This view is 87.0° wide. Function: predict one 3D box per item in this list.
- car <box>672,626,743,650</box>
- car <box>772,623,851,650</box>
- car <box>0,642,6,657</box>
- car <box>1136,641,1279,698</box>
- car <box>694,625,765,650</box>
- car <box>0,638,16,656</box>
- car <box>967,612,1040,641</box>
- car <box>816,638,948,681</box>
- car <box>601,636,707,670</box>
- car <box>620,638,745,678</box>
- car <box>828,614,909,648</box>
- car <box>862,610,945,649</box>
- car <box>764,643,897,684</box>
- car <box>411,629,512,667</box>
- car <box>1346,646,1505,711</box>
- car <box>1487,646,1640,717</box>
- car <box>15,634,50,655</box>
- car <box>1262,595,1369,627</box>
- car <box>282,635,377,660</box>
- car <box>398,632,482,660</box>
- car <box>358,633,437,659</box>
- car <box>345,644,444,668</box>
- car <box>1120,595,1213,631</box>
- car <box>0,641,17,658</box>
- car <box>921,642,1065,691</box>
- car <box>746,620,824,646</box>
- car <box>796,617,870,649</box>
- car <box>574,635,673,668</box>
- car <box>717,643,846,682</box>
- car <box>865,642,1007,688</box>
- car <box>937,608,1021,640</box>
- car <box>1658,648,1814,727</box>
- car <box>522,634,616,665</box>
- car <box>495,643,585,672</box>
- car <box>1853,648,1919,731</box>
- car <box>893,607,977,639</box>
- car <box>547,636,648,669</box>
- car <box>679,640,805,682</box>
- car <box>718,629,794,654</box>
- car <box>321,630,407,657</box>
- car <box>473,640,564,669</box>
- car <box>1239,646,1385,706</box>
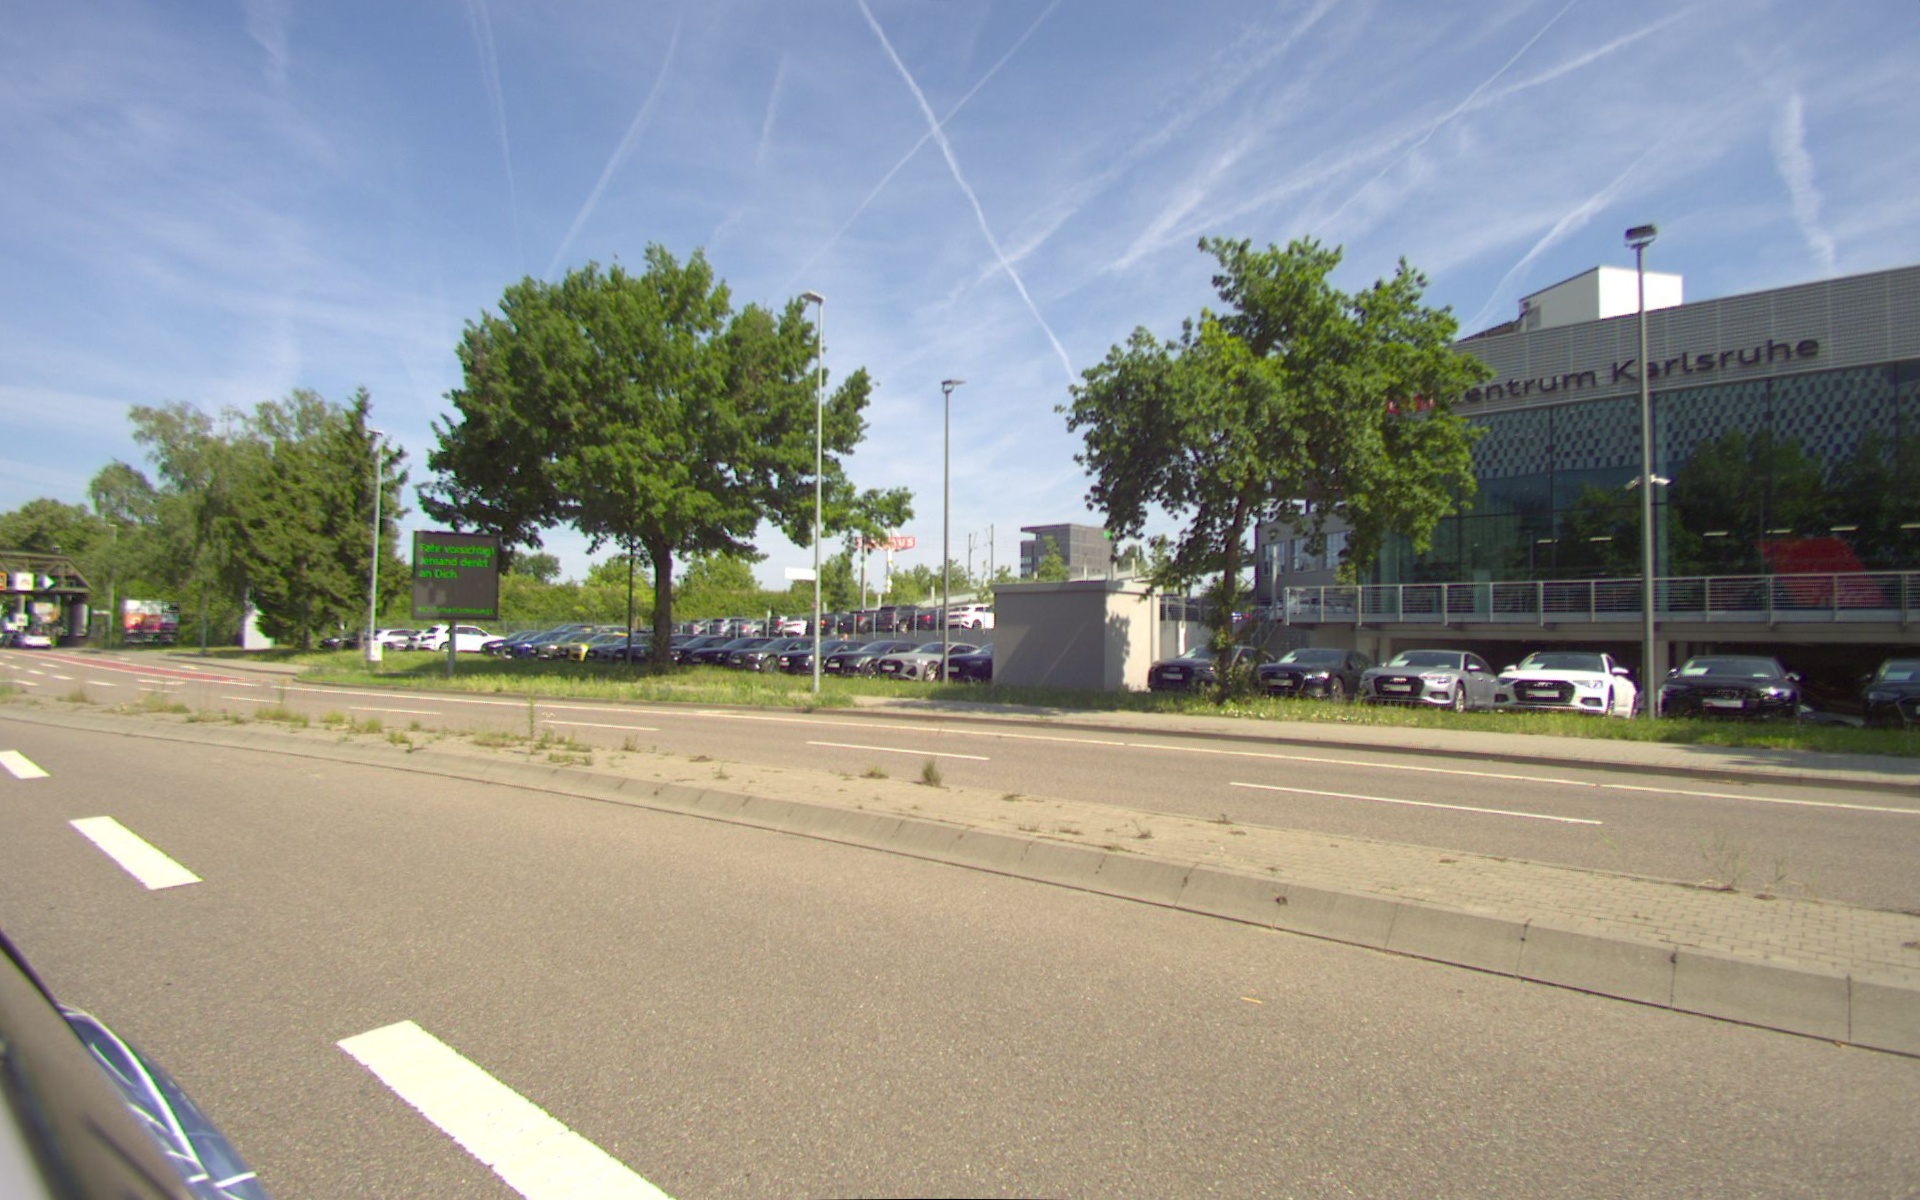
[{"bbox_3d":[-16.583,2.458,66.588,1.997,1.488,4.162,-2,-2,38],"label":"car"},{"bbox_3d":[-8.747,2.185,59.932,1.978,1.496,4.454,-2,-3,39],"label":"car"},{"bbox_3d":[-97.218,4.952,101.691,4.317,1.398,1.618,-2,-4,42],"label":"car"},{"bbox_3d":[6.118,1.722,24.739,1.895,1.165,3.947,-2,-7,39],"label":"car"},{"bbox_3d":[-14.741,2.389,64.930,1.997,1.488,4.162,-2,-2,38],"label":"car"},{"bbox_3d":[-102.925,4.963,108.396,5.448,1.875,1.972,-2,-5,41],"label":"car"},{"bbox_3d":[2.450,1.504,57.852,3.786,1.586,1.930,-2,-2,41],"label":"car"},{"bbox_3d":[-2.455,1.915,32.993,1.690,1.300,4.454,-2,-3,39],"label":"car"},{"bbox_3d":[-12.577,2.196,41.737,1.984,1.295,3.643,-2,-5,39],"label":"car"},{"bbox_3d":[-10.981,2.284,40.318,1.978,1.487,4.454,-2,-3,39],"label":"car"},{"bbox_3d":[-5.040,1.745,56.251,1.978,1.829,4.454,-2,-3,39],"label":"car"},{"bbox_3d":[-2.982,1.607,54.430,1.978,1.977,4.454,-2,-3,39],"label":"car"},{"bbox_3d":[-4.389,2.143,34.872,1.918,1.300,4.454,-2,-3,39],"label":"car"},{"bbox_3d":[-26.460,2.501,53.822,2.000,1.889,4.415,-2,-2,42],"label":"car"},{"bbox_3d":[9.935,1.687,21.441,2.085,1.165,4.132,-2,-7,39],"label":"car"},{"bbox_3d":[11.811,1.616,19.688,1.953,1.199,4.132,-2,-7,39],"label":"car"},{"bbox_3d":[-78.614,3.754,85.756,1.970,1.630,4.107,5,-5,-44],"label":"car"},{"bbox_3d":[17.541,0.554,50.037,4.590,1.475,1.928,0,-1,-10],"label":"car"},{"bbox_3d":[-39.235,2.944,63.046,1.999,1.400,4.638,-2,-2,41],"label":"car"},{"bbox_3d":[-29.968,2.646,58.398,1.848,1.497,3.941,-2,-2,45],"label":"car"},{"bbox_3d":[-32.589,2.647,58.703,1.816,1.381,3.641,-2,-2,41],"label":"car"},{"bbox_3d":[-33.819,3.329,60.649,1.999,1.278,4.800,-2,-2,41],"label":"car"},{"bbox_3d":[8.973,0.578,43.796,1.985,1.507,4.472,-2,-2,41],"label":"car"},{"bbox_3d":[-90.062,4.646,95.063,4.025,1.530,1.680,-2,-5,41],"label":"car"},{"bbox_3d":[1.058,1.917,29.605,1.918,1.300,4.454,-2,-3,39],"label":"car"},{"bbox_3d":[-10.565,2.045,61.407,1.978,1.496,4.454,-2,-3,39],"label":"car"},{"bbox_3d":[-7.256,1.918,58.131,1.663,1.718,4.225,-2,-3,39],"label":"car"},{"bbox_3d":[-14.436,2.218,43.524,1.863,1.295,3.558,-2,-5,39],"label":"car"},{"bbox_3d":[-6.391,2.228,36.677,1.918,1.300,4.454,-2,-3,39],"label":"car"},{"bbox_3d":[-0.659,1.985,31.328,2.002,1.300,4.454,-2,-3,39],"label":"car"},{"bbox_3d":[1.007,1.232,51.215,1.978,1.496,4.454,-2,-3,39],"label":"car"},{"bbox_3d":[13.689,1.576,17.818,1.953,1.199,4.132,-2,-7,39],"label":"car"},{"bbox_3d":[-18.081,2.311,46.920,1.661,1.295,3.704,-2,-5,39],"label":"car"},{"bbox_3d":[-20.071,2.765,48.498,1.743,1.295,3.558,-2,-5,39],"label":"car"},{"bbox_3d":[15.619,1.494,16.084,1.953,1.199,4.132,-2,-7,39],"label":"car"},{"bbox_3d":[-1.276,1.251,52.985,1.978,1.563,4.454,-2,-3,39],"label":"car"},{"bbox_3d":[-16.213,2.354,45.377,1.838,1.351,3.848,-2,-5,39],"label":"car"},{"bbox_3d":[-8.154,2.276,38.181,1.918,1.487,4.454,-2,-3,39],"label":"car"},{"bbox_3d":[-12.642,2.574,63.014,1.889,1.429,4.455,-2,-2,39],"label":"car"},{"bbox_3d":[-36.642,2.657,62.244,1.999,1.558,4.169,-2,-2,41],"label":"car"},{"bbox_3d":[-21.899,2.686,50.297,1.743,1.295,3.753,-2,-2,39],"label":"car"},{"bbox_3d":[8.053,1.755,22.938,1.895,1.165,3.947,-2,-7,39],"label":"car"}]
